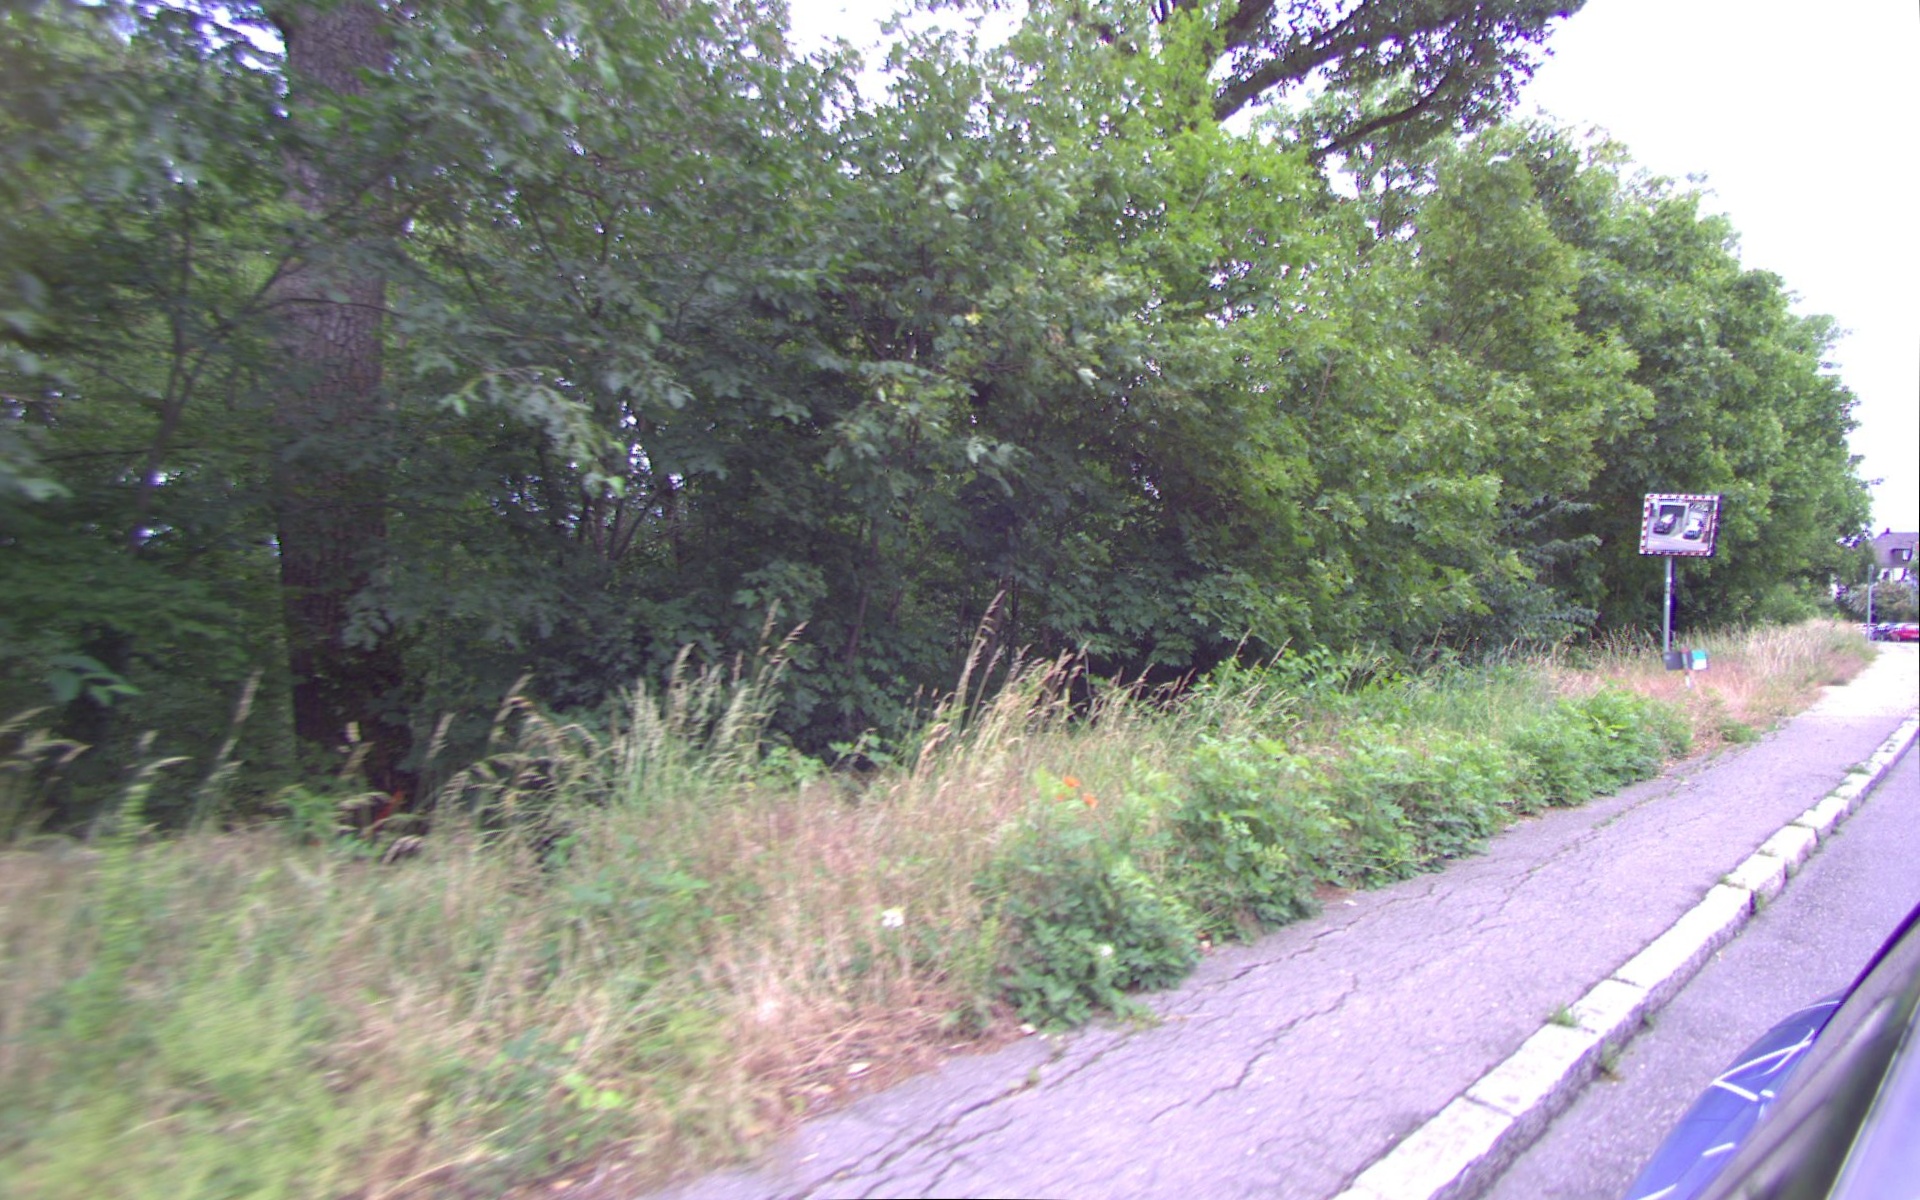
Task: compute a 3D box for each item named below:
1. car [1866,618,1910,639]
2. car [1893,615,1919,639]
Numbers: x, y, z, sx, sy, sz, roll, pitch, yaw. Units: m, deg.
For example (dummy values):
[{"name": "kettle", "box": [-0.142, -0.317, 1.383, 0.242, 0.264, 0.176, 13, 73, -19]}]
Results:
[{"name": "car", "box": [78.635, 2.378, 85.834, 1.986, 1.710, 4.654, 0, 0, 33]}, {"name": "car", "box": [73.320, 2.055, 77.394, 1.984, 1.710, 4.657, 0, 0, 32]}]
